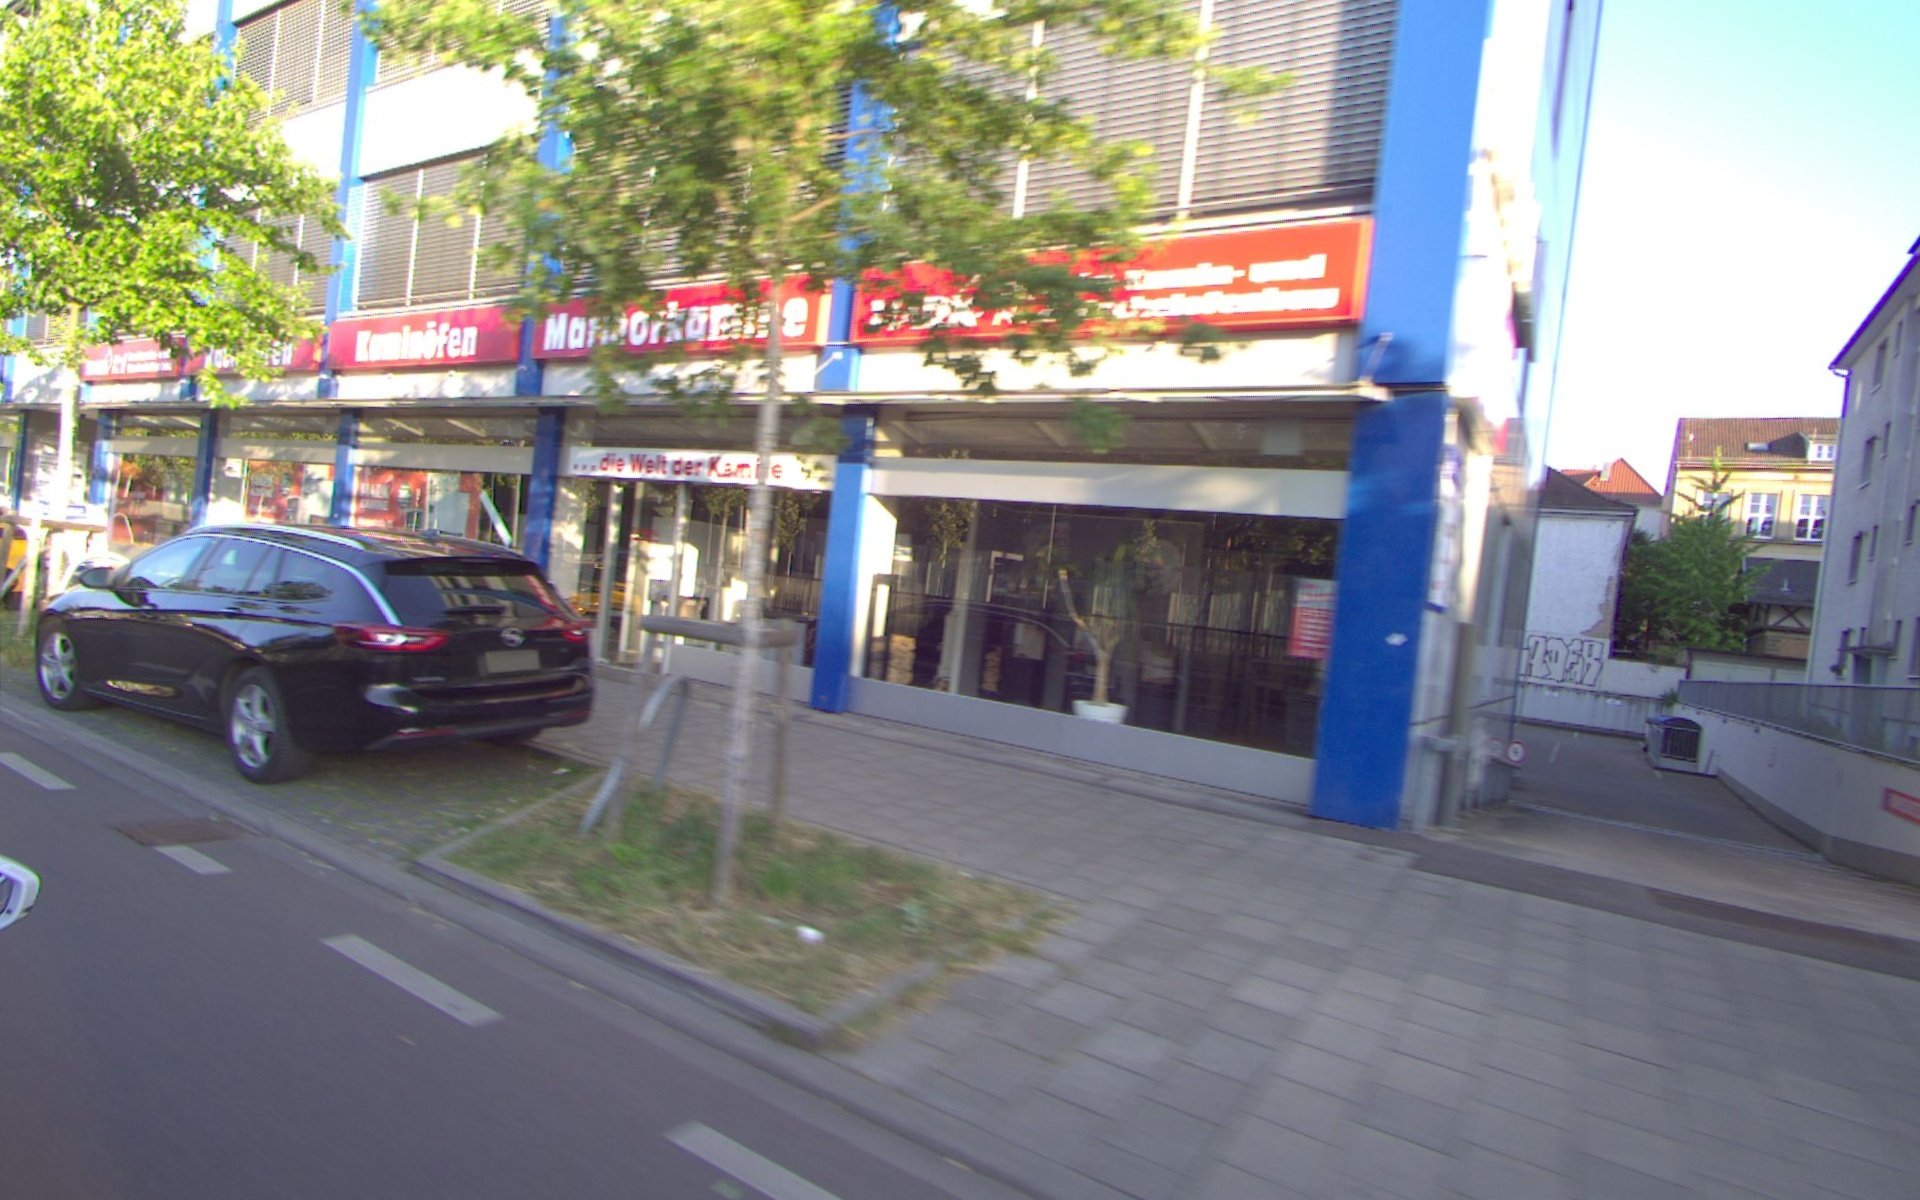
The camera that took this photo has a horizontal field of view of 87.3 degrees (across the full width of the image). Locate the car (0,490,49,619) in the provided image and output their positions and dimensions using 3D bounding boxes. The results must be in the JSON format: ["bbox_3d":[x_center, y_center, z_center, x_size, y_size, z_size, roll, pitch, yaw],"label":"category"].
[{"bbox_3d":[-13.077,-0.739,12.293,4.060,1.473,1.685,6,1,30],"label":"car"}]

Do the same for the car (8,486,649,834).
[{"bbox_3d":[-4.581,0.181,7.063,4.729,1.588,1.819,6,4,30],"label":"car"}]
